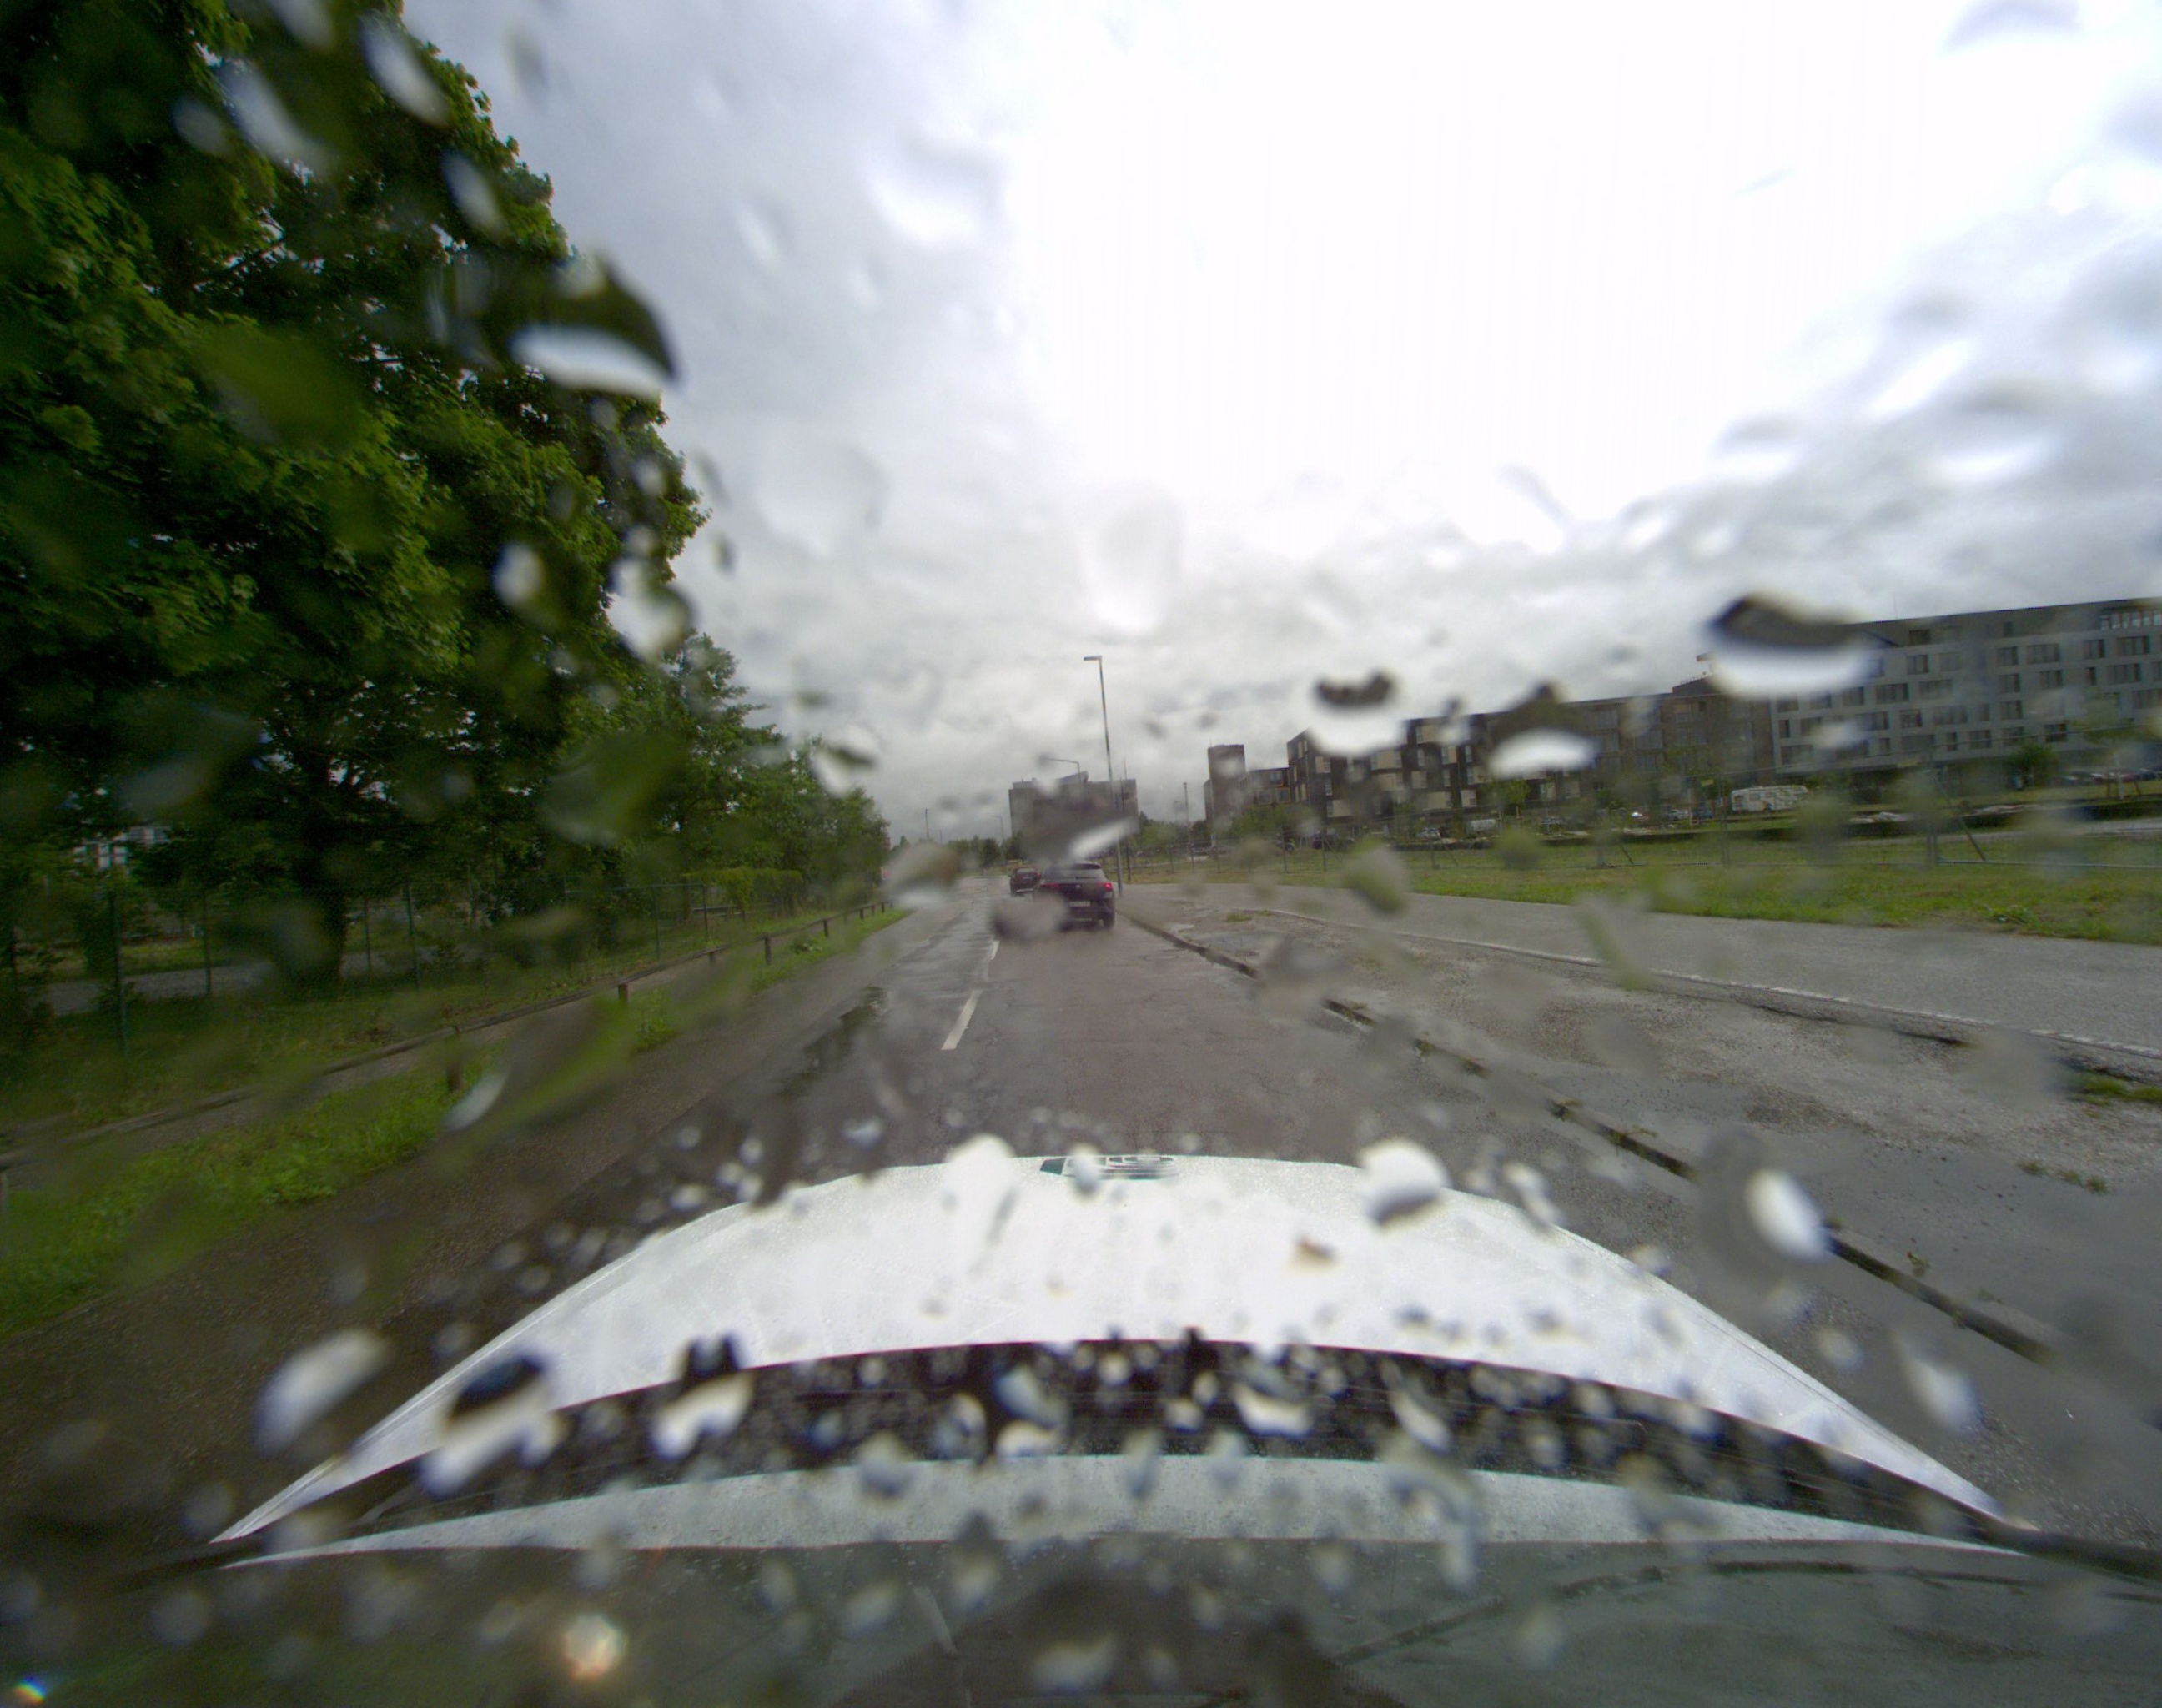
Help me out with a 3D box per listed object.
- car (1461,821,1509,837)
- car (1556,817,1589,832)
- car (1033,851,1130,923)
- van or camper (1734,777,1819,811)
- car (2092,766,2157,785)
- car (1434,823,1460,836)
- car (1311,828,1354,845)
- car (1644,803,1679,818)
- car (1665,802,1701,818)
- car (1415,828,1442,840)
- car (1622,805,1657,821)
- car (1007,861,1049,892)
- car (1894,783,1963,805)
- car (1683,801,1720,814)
[{"bbox_3d":[43.717,-2.695,88.185,4.305,1.772,2.002,0,0,3],"label":"car"},{"bbox_3d":[59.072,-3.557,97.976,1.773,1.615,3.844,-2,0,2],"label":"car"},{"bbox_3d":[-0.092,0.729,19.907,1.984,1.520,3.992,-2,0,-5],"label":"car"},{"bbox_3d":[74.552,-6.422,87.377,6.751,3.201,2.531,-2,0,2],"label":"van or camper"},{"bbox_3d":[116.658,-8.774,91.099,1.785,1.687,4.375,-2,0,5],"label":"car"},{"bbox_3d":[44.445,-2.950,98.942,1.632,1.396,3.783,-3,-1,2],"label":"car"},{"bbox_3d":[27.422,-1.913,88.806,3.976,1.728,1.999,-2,0,-2],"label":"car"},{"bbox_3d":[69.609,-5.213,97.743,1.538,1.615,3.844,-2,0,2],"label":"car"},{"bbox_3d":[72.199,-5.292,97.771,1.538,1.615,3.844,-2,0,2],"label":"car"},{"bbox_3d":[42.264,-2.433,99.036,1.756,1.395,3.809,-2,0,2],"label":"car"},{"bbox_3d":[67.152,-4.933,97.953,1.538,1.615,3.844,-2,0,2],"label":"car"},{"bbox_3d":[-3.012,1.222,45.312,1.841,1.441,3.988,-7,0,-9],"label":"car"},{"bbox_3d":[87.690,-6.205,84.346,4.772,2.013,2.003,-2,0,6],"label":"car"},{"bbox_3d":[74.490,-5.512,97.783,1.541,1.296,3.905,-2,0,2],"label":"car"}]
